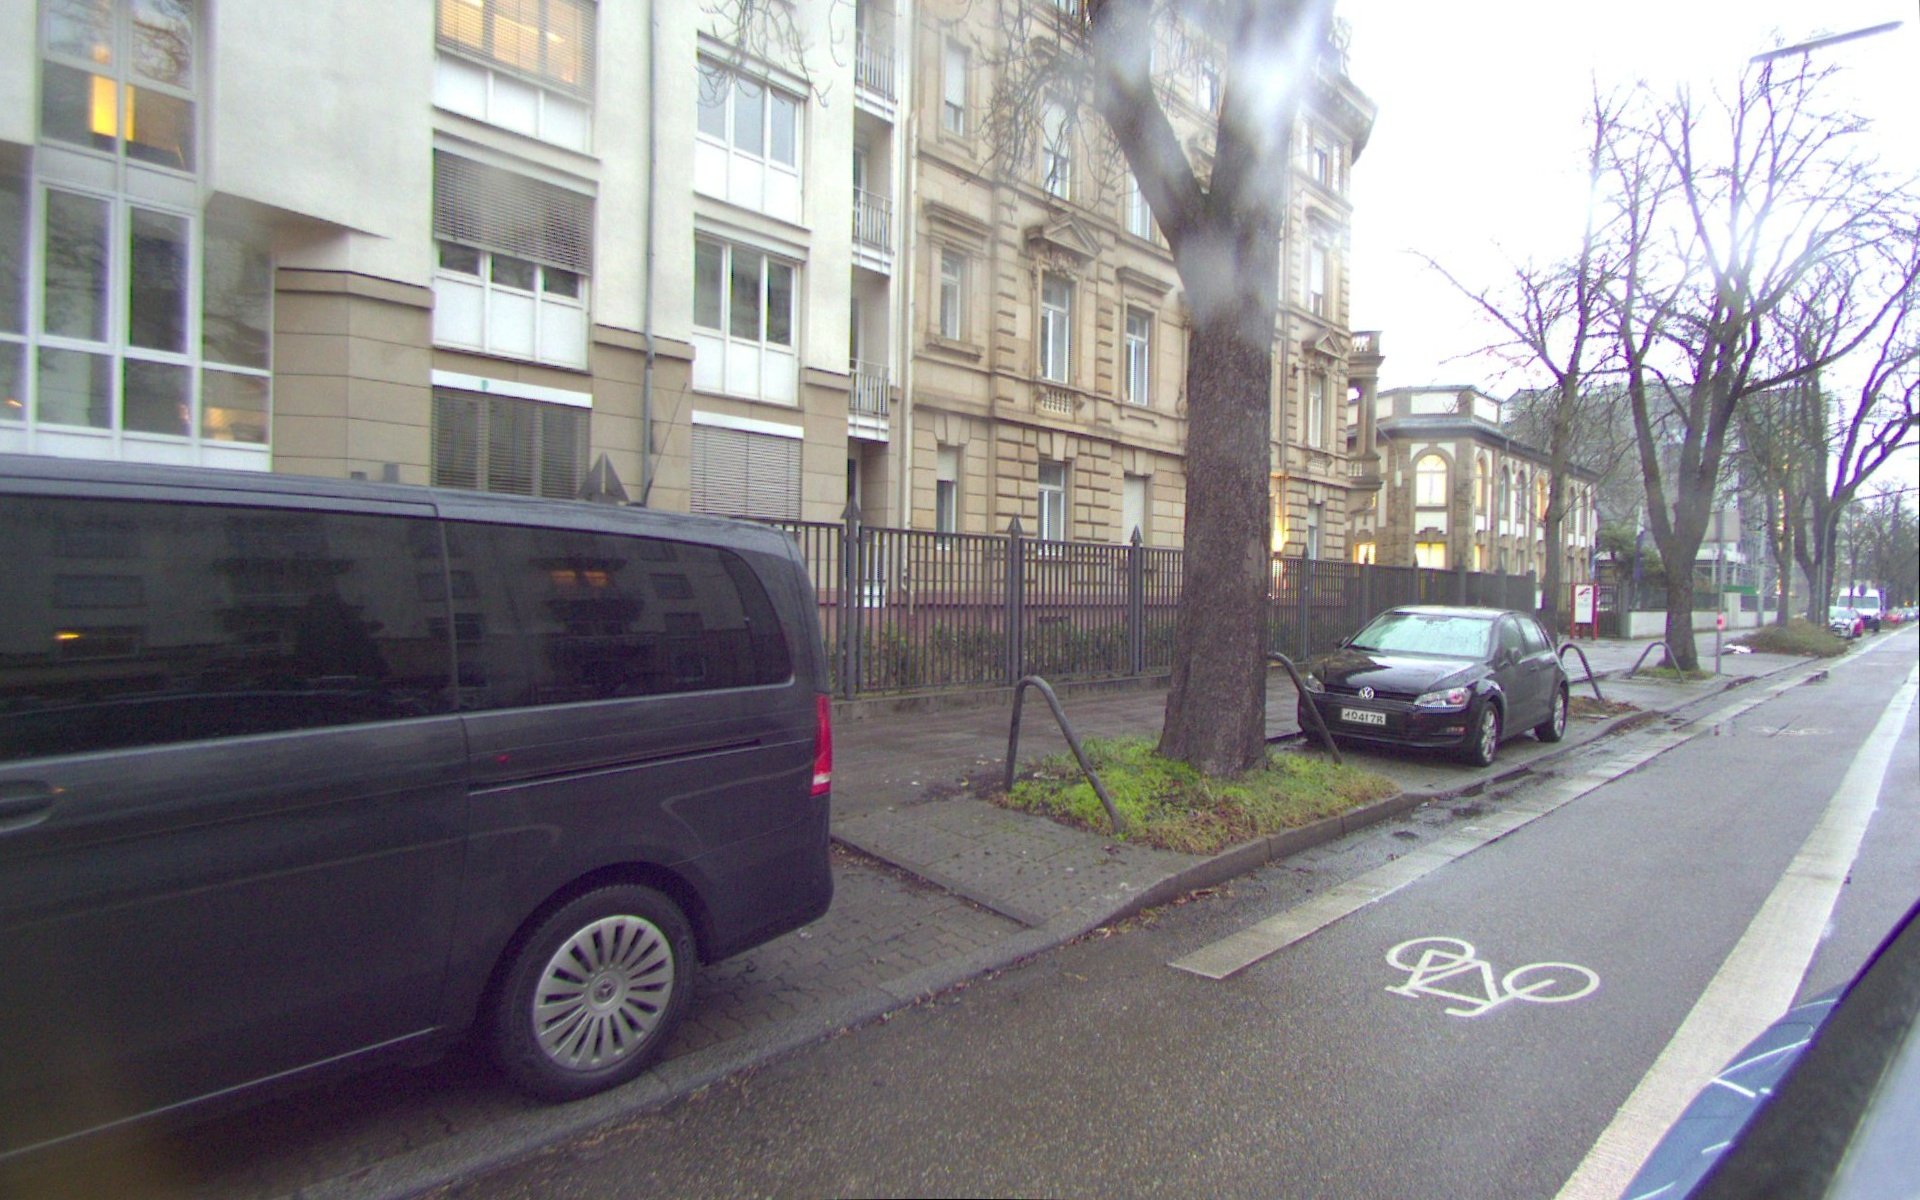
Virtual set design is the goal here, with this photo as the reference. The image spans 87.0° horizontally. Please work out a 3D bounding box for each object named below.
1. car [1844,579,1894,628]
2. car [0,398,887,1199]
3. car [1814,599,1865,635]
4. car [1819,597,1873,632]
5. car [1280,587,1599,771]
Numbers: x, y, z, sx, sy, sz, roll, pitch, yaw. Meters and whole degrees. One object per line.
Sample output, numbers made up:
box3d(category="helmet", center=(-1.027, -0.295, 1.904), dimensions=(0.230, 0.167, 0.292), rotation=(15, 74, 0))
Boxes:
box3d(category="car", center=(52.167, 0.163, 58.092), dimensions=(2.086, 2.670, 5.367), rotation=(0, 1, 42))
box3d(category="car", center=(-2.722, 0.505, 2.743), dimensions=(4.882, 1.899, 2.032), rotation=(0, 2, -45))
box3d(category="car", center=(38.357, 0.695, 44.122), dimensions=(1.623, 1.425, 3.939), rotation=(0, 1, 42))
box3d(category="car", center=(44.988, 0.698, 51.362), dimensions=(1.992, 1.703, 3.939), rotation=(0, 1, 42))
box3d(category="car", center=(5.146, 0.674, 10.578), dimensions=(1.758, 1.463, 4.091), rotation=(4, 2, 44))
